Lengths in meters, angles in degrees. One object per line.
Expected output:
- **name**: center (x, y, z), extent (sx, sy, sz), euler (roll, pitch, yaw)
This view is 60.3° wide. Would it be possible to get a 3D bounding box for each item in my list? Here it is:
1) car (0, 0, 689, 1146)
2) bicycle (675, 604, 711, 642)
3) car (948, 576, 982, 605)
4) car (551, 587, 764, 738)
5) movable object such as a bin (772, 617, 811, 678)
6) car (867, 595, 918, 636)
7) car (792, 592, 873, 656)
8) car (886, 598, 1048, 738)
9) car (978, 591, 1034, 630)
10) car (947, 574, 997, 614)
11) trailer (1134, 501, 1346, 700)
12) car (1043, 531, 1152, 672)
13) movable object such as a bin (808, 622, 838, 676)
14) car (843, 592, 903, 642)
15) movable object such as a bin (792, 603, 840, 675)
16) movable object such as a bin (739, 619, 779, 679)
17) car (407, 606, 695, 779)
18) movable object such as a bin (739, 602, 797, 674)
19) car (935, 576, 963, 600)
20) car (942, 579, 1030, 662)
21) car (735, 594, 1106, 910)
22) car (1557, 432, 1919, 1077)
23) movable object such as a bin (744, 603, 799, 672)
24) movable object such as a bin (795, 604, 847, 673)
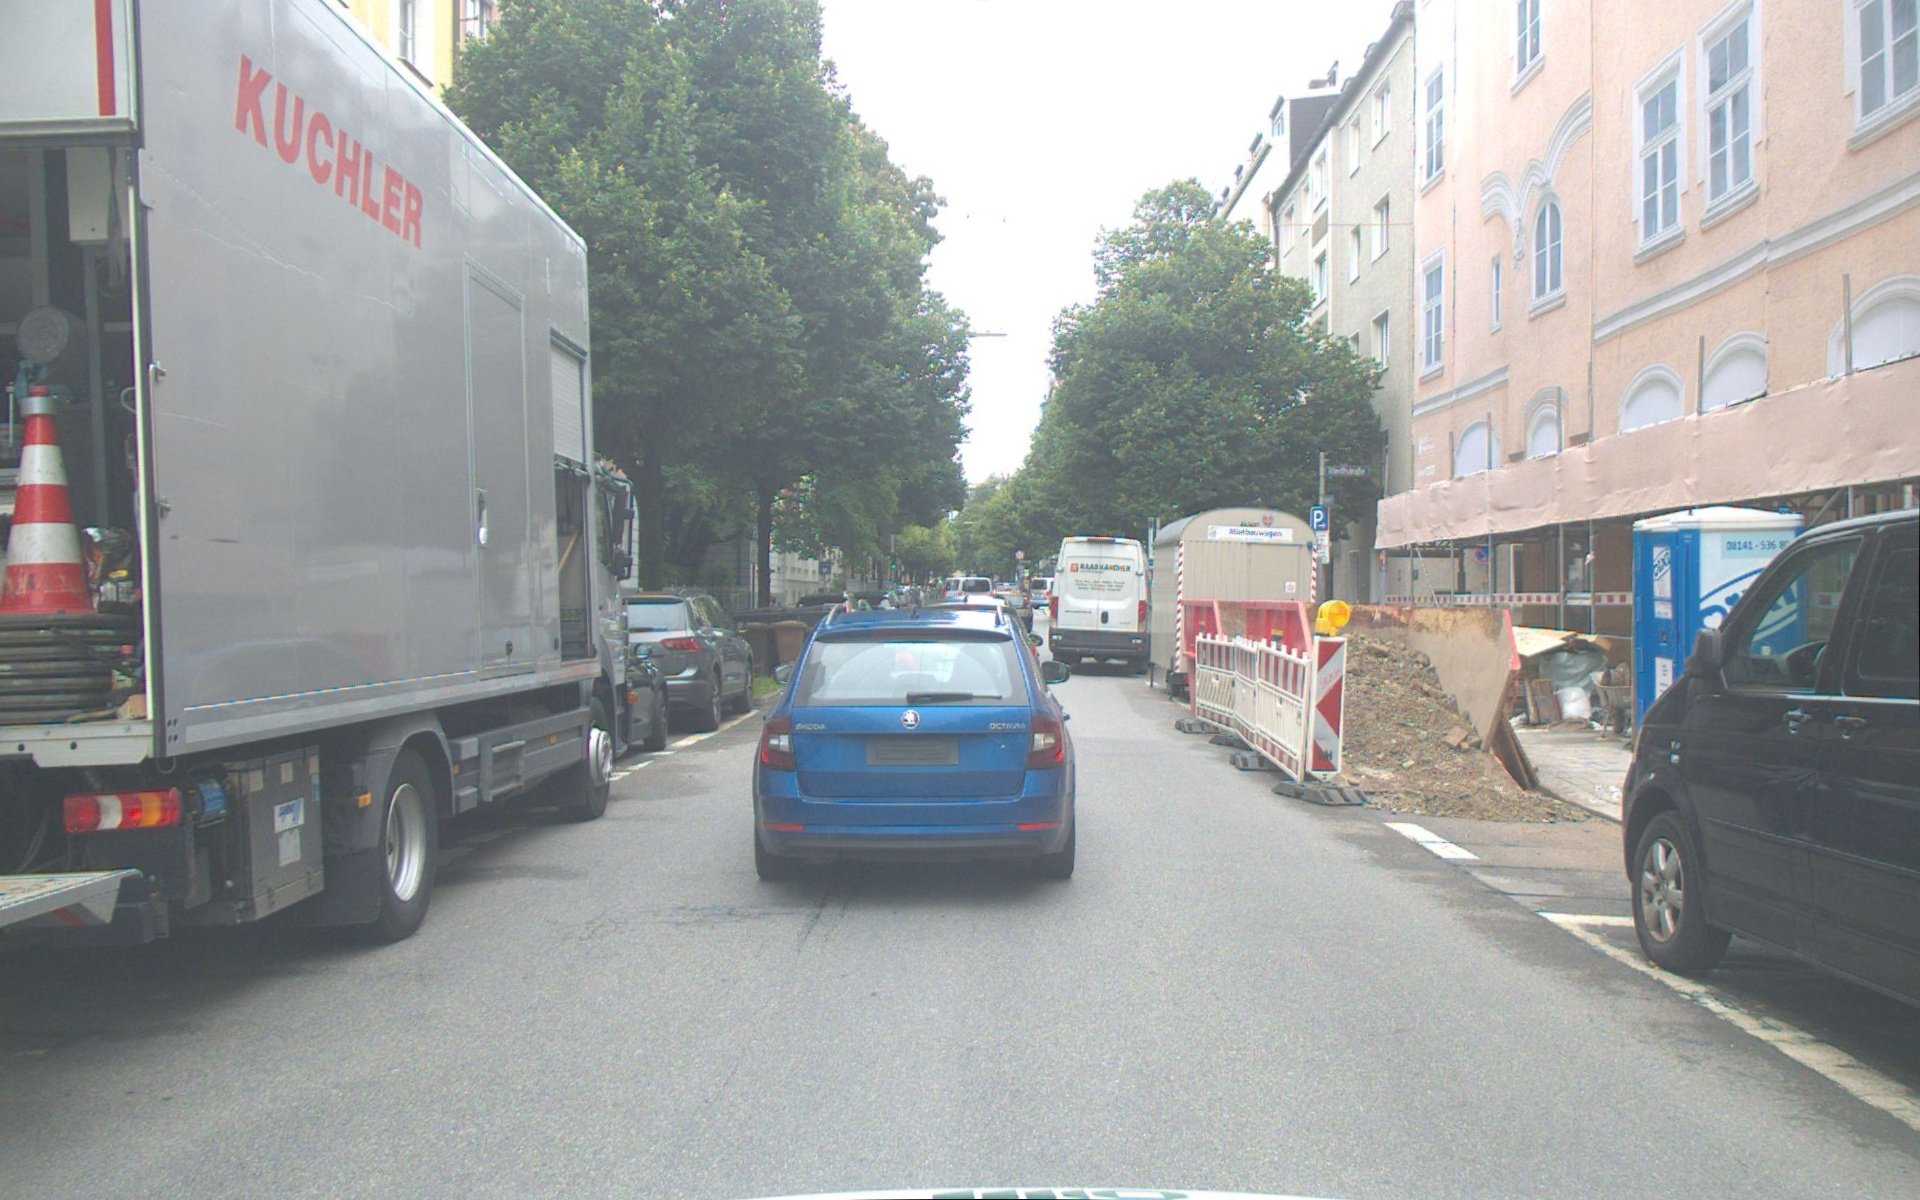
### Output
- **car**: center (-3.595, -0.439, 8.891), extent (2.755, 3.884, 8.723), euler (0, 0, 0)
- **bicycle**: center (-8.058, 0.683, 50.079), extent (0.621, 1.086, 2.388), euler (-1, 0, 2)
- **car**: center (0.292, -0.599, 99.438), extent (1.830, 1.682, 4.345), euler (1, 1, -2)
- **car**: center (-3.626, 0.693, 20.557), extent (1.748, 1.657, 4.186), euler (-1, 0, 1)
- **movable object such as a bin**: center (-3.345, 0.944, 32.953), extent (0.697, 1.168, 0.636), euler (-2, 0, -3)
- **car**: center (-2.603, 0.576, 64.461), extent (1.775, 1.504, 4.000), euler (1, 0, 1)
- **car**: center (-3.166, 0.566, 41.688), extent (1.775, 1.504, 3.999), euler (1, 0, -1)
- **car**: center (0.151, 0.727, 19.415), extent (1.705, 1.446, 3.665), euler (1, 0, 2)
- **car**: center (1.695, 0.364, 62.103), extent (1.830, 1.371, 4.346), euler (1, 1, -2)
- **car**: center (0.573, -0.314, 82.795), extent (1.832, 1.902, 4.339), euler (1, 1, -8)
- **trailer**: center (4.515, 0.029, 27.924), extent (2.451, 2.889, 6.901), euler (1, 0, 1)
- **car**: center (2.999, 0.041, 35.030), extent (2.068, 2.710, 5.504), euler (1, 0, 7)
- **movable object such as a bin**: center (-2.739, 0.964, 33.011), extent (0.535, 1.038, 0.636), euler (-2, 0, -3)
- **car**: center (-2.721, 0.508, 52.419), extent (1.775, 1.504, 3.999), euler (1, 0, -1)
- **movable object such as a bin**: center (-2.932, 0.789, 33.866), extent (0.900, 1.400, 1.079), euler (-2, 0, -3)
- **movable object such as a bin**: center (-4.000, 0.968, 32.901), extent (0.706, 1.158, 0.658), euler (-2, 0, -3)
- **car**: center (-3.734, 0.789, 15.749), extent (1.664, 1.434, 3.709), euler (-1, 0, 3)
- **movable object such as a bin**: center (-3.908, 0.757, 33.788), extent (1.060, 1.400, 1.083), euler (-2, 0, -3)
- **car**: center (-0.828, -0.920, 121.913), extent (1.967, 1.682, 4.347), euler (1, 1, -1)
- **car**: center (0.561, 0.406, 37.226), extent (1.829, 1.726, 4.347), euler (1, 1, 0)
- **car**: center (-0.212, 0.721, 10.017), extent (1.753, 1.486, 4.314), euler (0, 0, -1)
- **car**: center (3.958, 0.515, 5.757), extent (2.039, 1.955, 5.141), euler (1, -2, 2)
- **movable object such as a bin**: center (-3.965, 0.778, 34.889), extent (1.036, 1.400, 1.095), euler (-2, 0, -3)
- **movable object such as a bin**: center (-2.929, 0.801, 34.964), extent (1.000, 1.400, 1.103), euler (-2, 0, -3)
